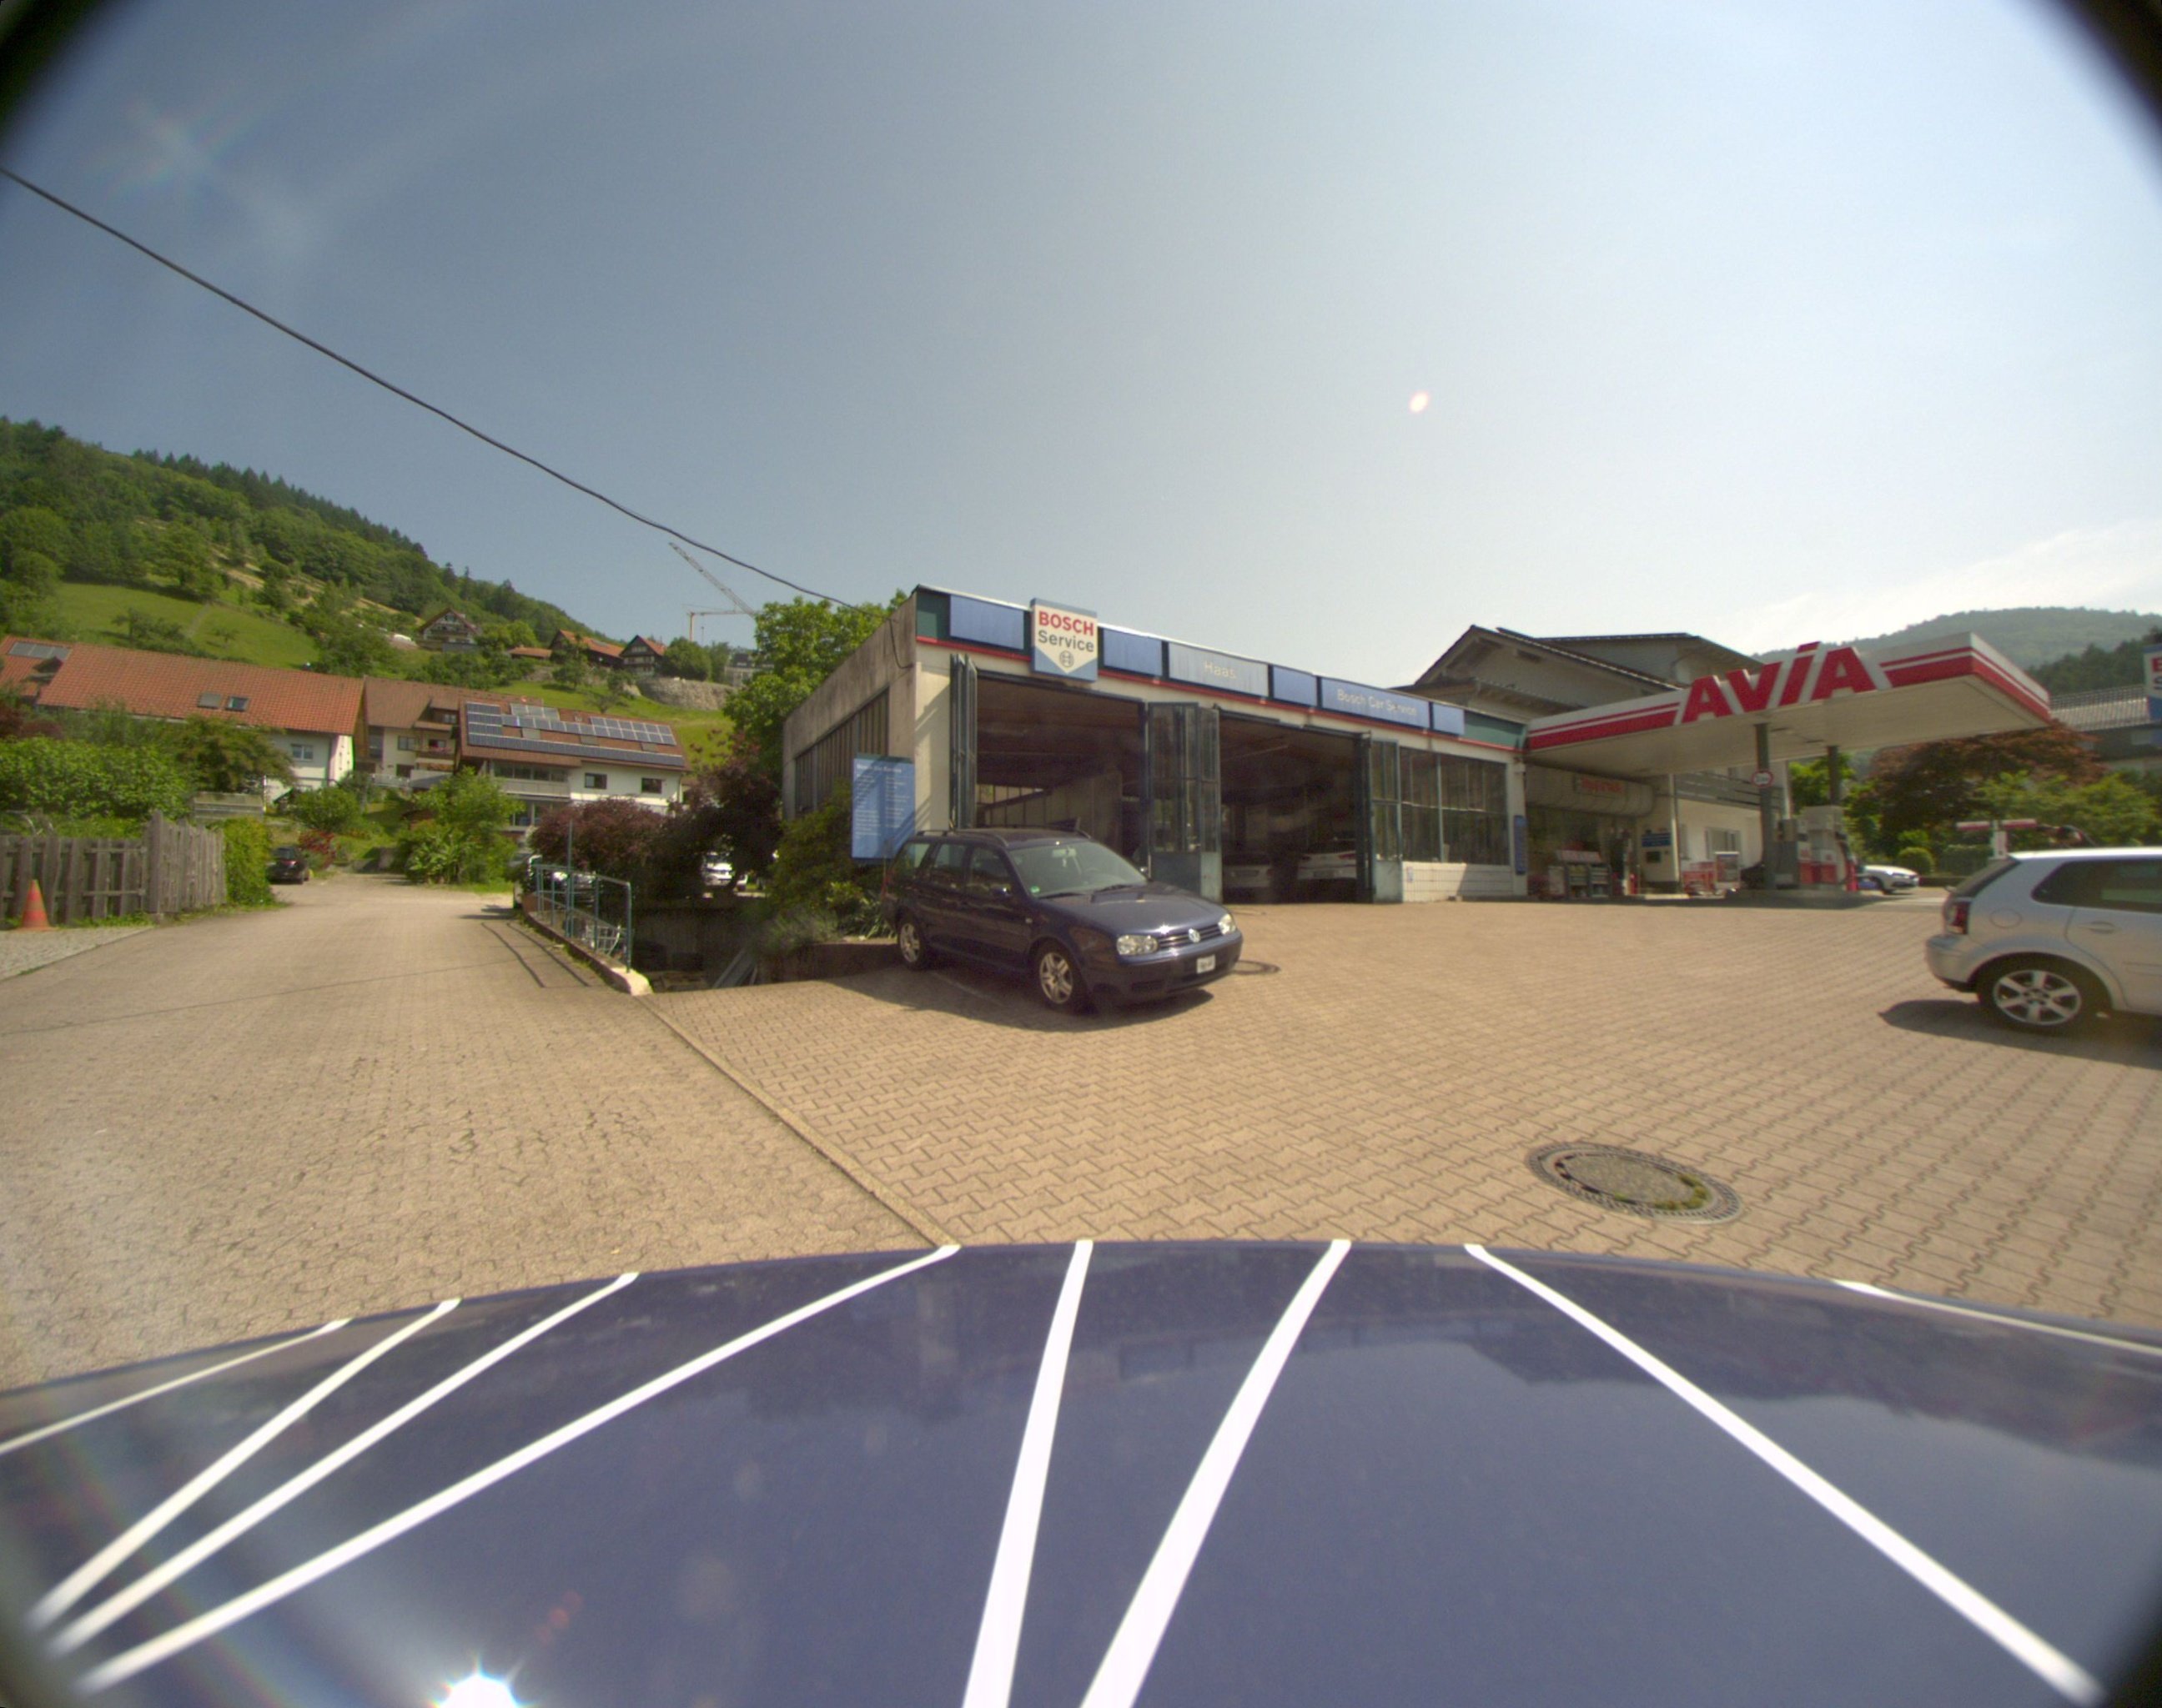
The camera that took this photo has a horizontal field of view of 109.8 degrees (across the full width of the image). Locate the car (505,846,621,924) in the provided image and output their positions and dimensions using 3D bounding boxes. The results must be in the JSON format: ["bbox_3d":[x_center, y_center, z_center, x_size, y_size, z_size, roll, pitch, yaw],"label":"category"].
[{"bbox_3d":[-13.024,0.648,18.968,2.004,1.635,4.863,-2,2,-39],"label":"car"}]

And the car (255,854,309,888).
[{"bbox_3d":[-29.067,0.604,27.687,1.115,1.058,2.855,4,-1,-42],"label":"car"}]

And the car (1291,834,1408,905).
[{"bbox_3d":[7.139,0.319,19.991,1.601,1.678,3.938,1,2,41],"label":"car"}]

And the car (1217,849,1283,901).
[{"bbox_3d":[4.961,0.666,22.041,1.545,1.397,3.485,-1,-3,18],"label":"car"}]

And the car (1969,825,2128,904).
[{"bbox_3d":[21.422,0.153,16.802,3.917,1.568,1.693,-1,2,-31],"label":"car"}]

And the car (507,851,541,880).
[{"bbox_3d":[-28.672,0.554,39.077,1.347,1.363,3.204,-2,2,-37],"label":"car"}]

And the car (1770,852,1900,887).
[{"bbox_3d":[26.917,0.513,27.213,1.337,1.138,3.074,-1,2,-33],"label":"car"}]

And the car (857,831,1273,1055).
[{"bbox_3d":[-0.448,0.572,7.519,1.803,1.536,4.319,-3,3,-39],"label":"car"}]

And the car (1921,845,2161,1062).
[{"bbox_3d":[8.668,0.734,5.171,1.598,1.474,3.746,-2,3,-35],"label":"car"}]

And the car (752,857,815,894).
[{"bbox_3d":[-14.044,0.963,35.715,1.683,1.546,3.900,-2,2,-38],"label":"car"}]

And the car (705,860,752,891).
[{"bbox_3d":[-16.190,0.977,34.826,1.470,1.251,3.379,2,0,-32],"label":"car"}]
